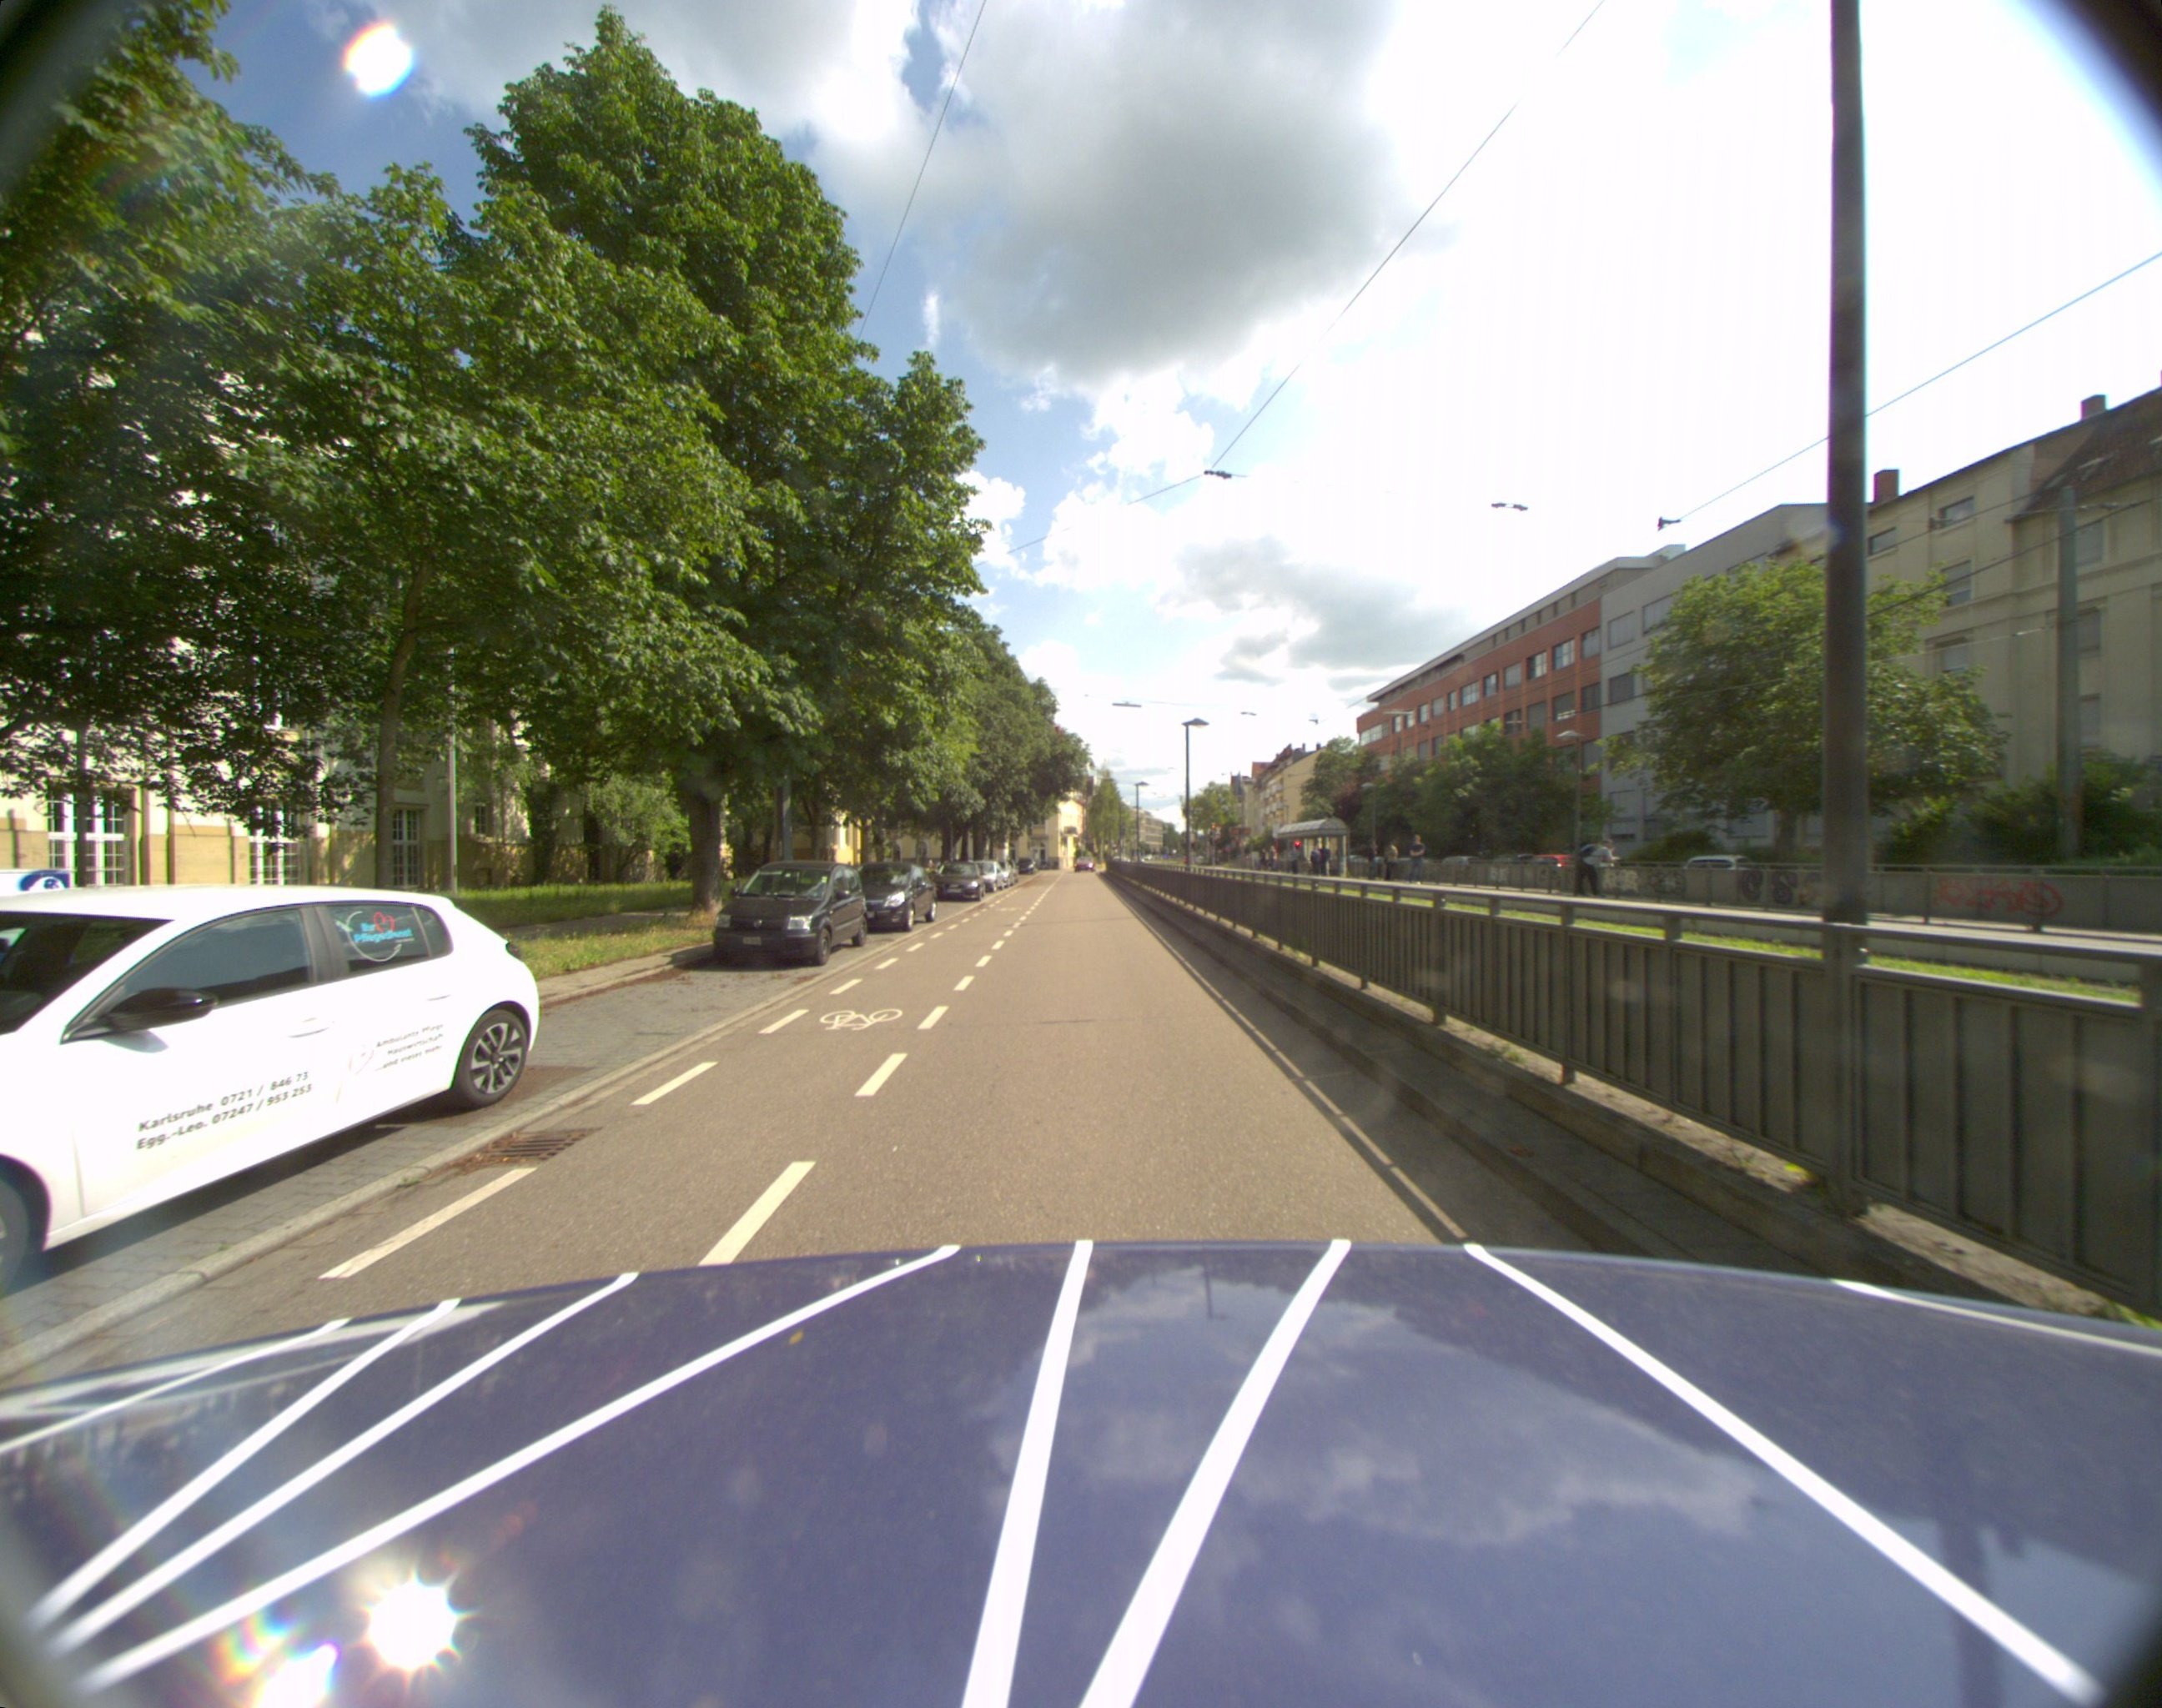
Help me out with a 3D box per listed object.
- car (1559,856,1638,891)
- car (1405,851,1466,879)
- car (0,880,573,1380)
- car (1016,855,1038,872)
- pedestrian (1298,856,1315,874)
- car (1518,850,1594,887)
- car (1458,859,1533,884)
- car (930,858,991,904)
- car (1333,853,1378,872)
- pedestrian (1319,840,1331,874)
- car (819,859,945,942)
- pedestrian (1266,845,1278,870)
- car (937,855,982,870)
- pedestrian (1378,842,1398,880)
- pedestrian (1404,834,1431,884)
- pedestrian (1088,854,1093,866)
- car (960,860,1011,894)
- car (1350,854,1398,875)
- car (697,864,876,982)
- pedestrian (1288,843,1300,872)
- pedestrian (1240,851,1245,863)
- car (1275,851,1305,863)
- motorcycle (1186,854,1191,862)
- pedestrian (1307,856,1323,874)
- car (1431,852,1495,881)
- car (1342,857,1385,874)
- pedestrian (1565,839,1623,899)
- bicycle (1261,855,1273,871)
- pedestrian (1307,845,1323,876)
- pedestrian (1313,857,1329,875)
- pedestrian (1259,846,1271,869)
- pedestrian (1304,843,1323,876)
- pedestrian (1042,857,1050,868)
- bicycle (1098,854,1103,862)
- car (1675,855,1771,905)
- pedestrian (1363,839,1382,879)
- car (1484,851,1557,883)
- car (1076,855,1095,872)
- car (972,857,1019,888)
[{"bbox_3d":[22.477,0.832,32.950,4.031,1.383,1.811,-1,-1,-40],"label":"car"},{"bbox_3d":[22.311,0.694,47.754,4.007,1.520,1.668,-3,0,-36],"label":"car"},{"bbox_3d":[-4.573,0.983,3.419,1.840,1.514,4.252,2,0,-3],"label":"car"},{"bbox_3d":[-4.780,0.825,67.345,1.689,1.379,3.923,1,1,0],"label":"car"},{"bbox_3d":[13.107,0.635,44.163,0.721,1.025,0.623,1,1,-3],"label":"pedestrian"},{"bbox_3d":[22.661,0.652,36.174,4.144,1.630,1.829,-1,1,-39],"label":"car"},{"bbox_3d":[23.029,0.969,42.172,4.005,1.143,1.789,-3,0,-29],"label":"car"},{"bbox_3d":[-4.481,0.964,28.950,1.836,1.458,4.828,2,1,-4],"label":"car"},{"bbox_3d":[22.891,0.701,63.372,4.008,1.487,1.646,-1,0,-37],"label":"car"},{"bbox_3d":[13.335,0.155,41.525,0.444,1.816,0.623,0,1,-3],"label":"pedestrian"},{"bbox_3d":[-4.366,0.950,17.353,1.695,1.552,4.307,2,0,0],"label":"car"},{"bbox_3d":[13.153,0.251,52.317,0.640,1.714,0.798,0,1,-3],"label":"pedestrian"},{"bbox_3d":[-14.222,0.954,89.016,4.828,1.646,1.858,-1,2,10],"label":"car"},{"bbox_3d":[13.649,0.297,33.786,0.608,1.665,0.625,-1,1,0],"label":"pedestrian"},{"bbox_3d":[12.883,0.175,29.114,0.752,1.881,0.638,-1,3,2],"label":"pedestrian"},{"bbox_3d":[1.357,0.872,110.877,0.593,1.622,0.538,2,1,2],"label":"pedestrian"},{"bbox_3d":[-4.321,1.004,34.895,1.639,1.423,4.015,2,0,2],"label":"car"},{"bbox_3d":[21.869,0.773,56.693,3.317,1.412,1.581,-3,1,-30],"label":"car"},{"bbox_3d":[-4.505,0.969,12.157,1.560,1.452,3.557,3,1,-3],"label":"car"},{"bbox_3d":[12.830,0.228,45.721,0.487,1.716,0.623,-1,1,-2],"label":"pedestrian"},{"bbox_3d":[22.685,0.432,106.742,0.650,1.700,0.481,-1,0,1],"label":"pedestrian"},{"bbox_3d":[27.566,0.468,100.273,3.608,1.470,1.777,0,-3,7],"label":"car"},{"bbox_3d":[20.303,0.749,143.841,0.634,1.395,2.010,-2,1,2],"label":"motorcycle"},{"bbox_3d":[13.512,0.631,43.902,0.655,1.026,0.562,1,6,-3],"label":"pedestrian"},{"bbox_3d":[22.547,0.726,44.780,4.007,1.520,1.668,-3,0,-37],"label":"car"},{"bbox_3d":[22.212,0.902,59.771,3.258,1.296,1.599,-1,0,-35],"label":"car"},{"bbox_3d":[13.658,0.393,20.249,0.991,1.569,0.798,0,1,-3],"label":"pedestrian"},{"bbox_3d":[12.841,0.600,52.502,0.663,1.107,1.878,1,1,8],"label":"bicycle"},{"bbox_3d":[12.290,0.349,39.958,0.599,1.623,0.558,0,0,-14],"label":"pedestrian"},{"bbox_3d":[13.491,0.653,42.666,0.706,0.989,0.562,1,1,-3],"label":"pedestrian"},{"bbox_3d":[13.887,0.280,57.348,0.667,1.689,0.798,0,1,-3],"label":"pedestrian"},{"bbox_3d":[12.329,0.268,40.365,0.634,1.733,1.036,0,1,-3],"label":"pedestrian"},{"bbox_3d":[-4.199,0.993,91.031,0.804,1.238,0.892,-1,2,2],"label":"pedestrian"},{"bbox_3d":[3.253,0.709,128.471,0.772,1.096,2.573,-1,-5,-1],"label":"bicycle"},{"bbox_3d":[22.432,0.832,26.503,4.161,1.556,1.921,-1,1,-41],"label":"car"},{"bbox_3d":[12.918,0.232,33.647,0.607,1.744,0.626,1,2,40],"label":"pedestrian"},{"bbox_3d":[22.614,0.637,39.069,4.007,1.559,1.605,-1,0,-34],"label":"car"},{"bbox_3d":[0.403,0.860,72.677,1.791,1.499,3.999,-2,0,0],"label":"car"},{"bbox_3d":[-4.445,0.925,40.103,1.833,1.433,5.049,3,0,0],"label":"car"}]
